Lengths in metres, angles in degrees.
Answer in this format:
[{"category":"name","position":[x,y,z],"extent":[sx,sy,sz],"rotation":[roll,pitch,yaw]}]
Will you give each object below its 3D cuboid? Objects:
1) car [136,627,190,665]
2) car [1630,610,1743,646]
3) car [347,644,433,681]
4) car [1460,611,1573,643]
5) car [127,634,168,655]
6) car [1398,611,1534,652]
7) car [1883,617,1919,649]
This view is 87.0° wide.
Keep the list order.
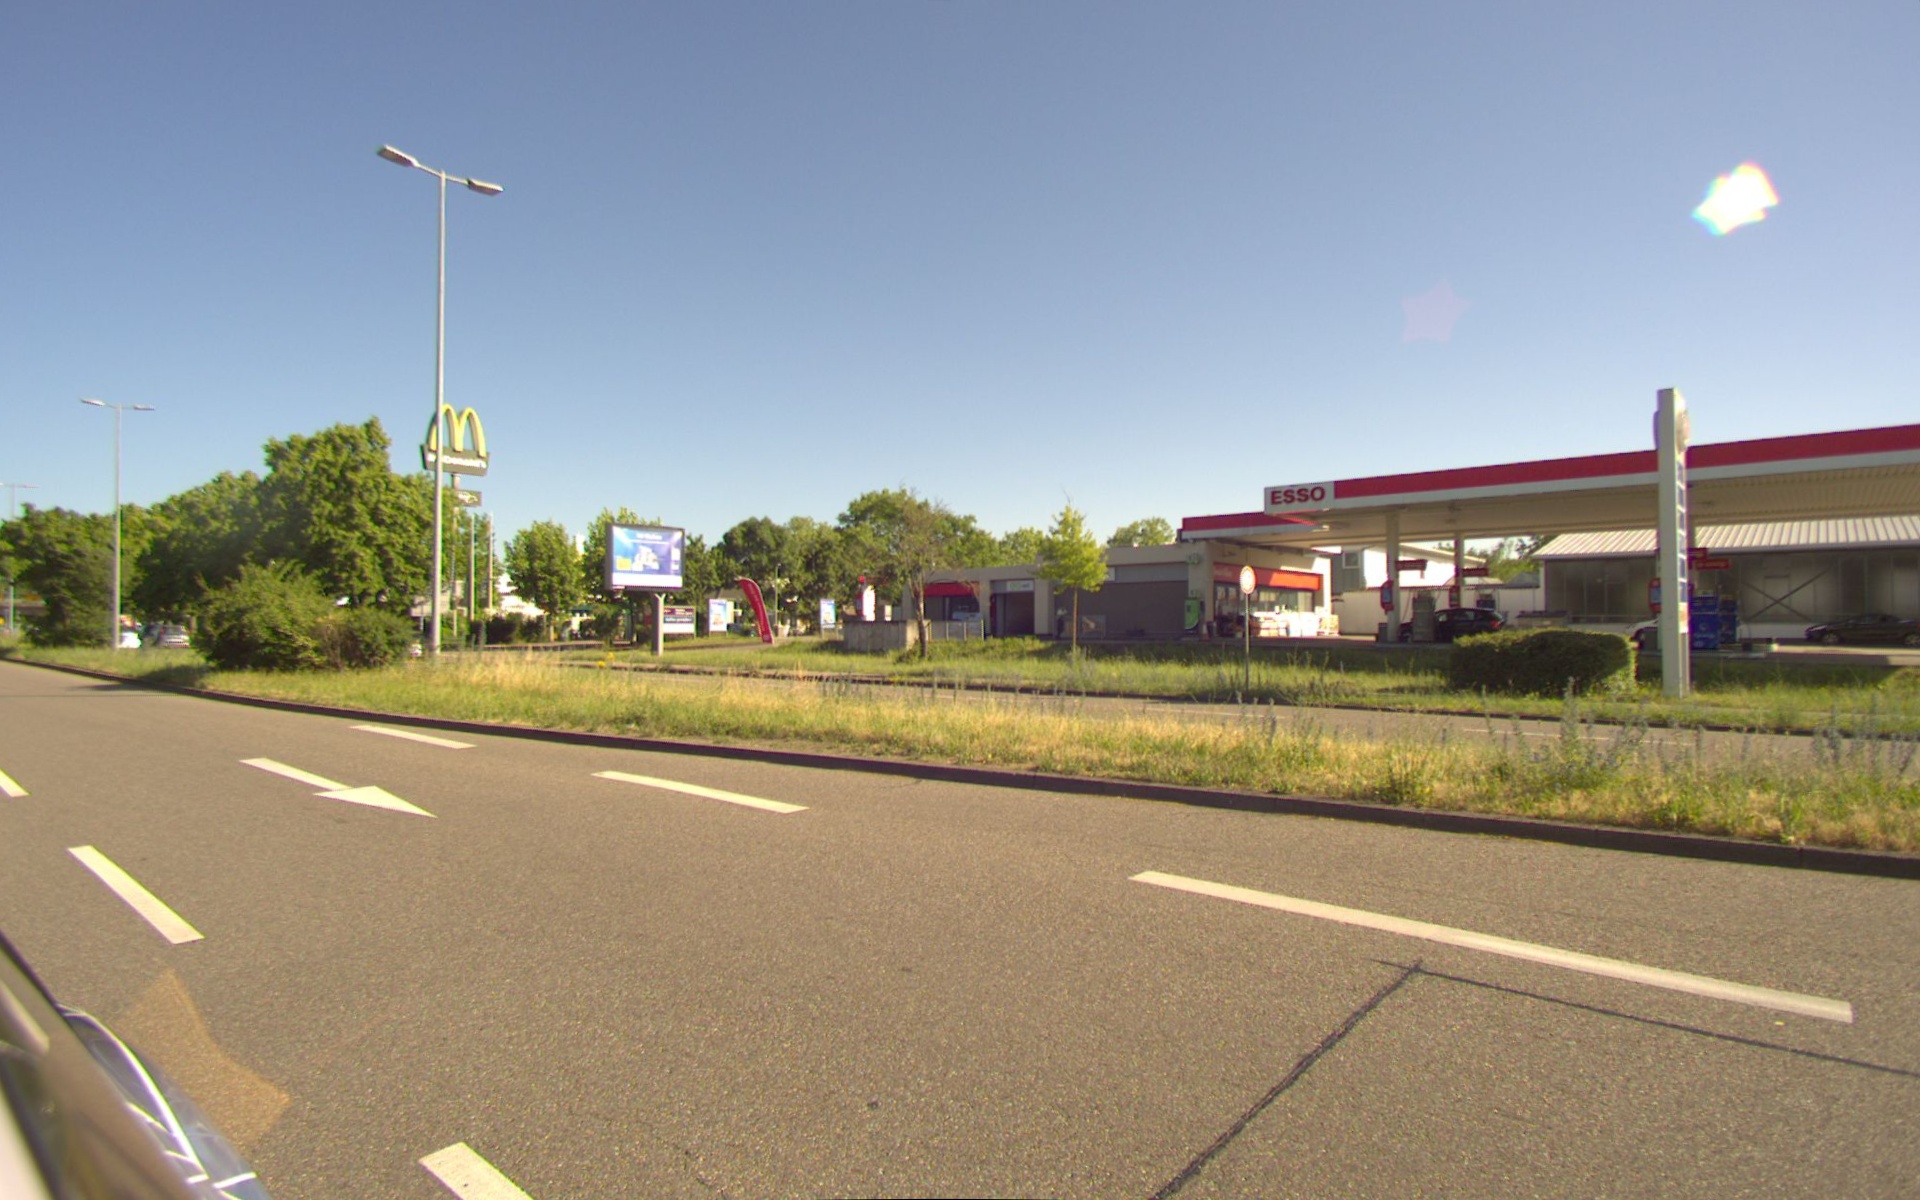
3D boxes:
[{"category":"car","position":[-42.054,2.386,53.383],"extent":[3.705,1.827,1.628],"rotation":[-1,0,41]},{"category":"car","position":[31.921,1.190,44.513],"extent":[3.855,1.500,1.973],"rotation":[-1,0,41]},{"category":"car","position":[-23.871,2.606,42.345],"extent":[4.679,1.344,1.628],"rotation":[-1,-4,41]},{"category":"car","position":[27.108,1.268,49.398],"extent":[4.540,1.477,1.973],"rotation":[-1,0,41]},{"category":"car","position":[-68.435,3.730,85.217],"extent":[4.769,1.640,1.973],"rotation":[-1,0,41]},{"category":"car","position":[18.219,1.131,36.514],"extent":[3.998,1.416,1.973],"rotation":[-2,-2,41]},{"category":"car","position":[38.135,1.284,38.981],"extent":[3.730,1.196,1.657],"rotation":[-1,0,41]}]
